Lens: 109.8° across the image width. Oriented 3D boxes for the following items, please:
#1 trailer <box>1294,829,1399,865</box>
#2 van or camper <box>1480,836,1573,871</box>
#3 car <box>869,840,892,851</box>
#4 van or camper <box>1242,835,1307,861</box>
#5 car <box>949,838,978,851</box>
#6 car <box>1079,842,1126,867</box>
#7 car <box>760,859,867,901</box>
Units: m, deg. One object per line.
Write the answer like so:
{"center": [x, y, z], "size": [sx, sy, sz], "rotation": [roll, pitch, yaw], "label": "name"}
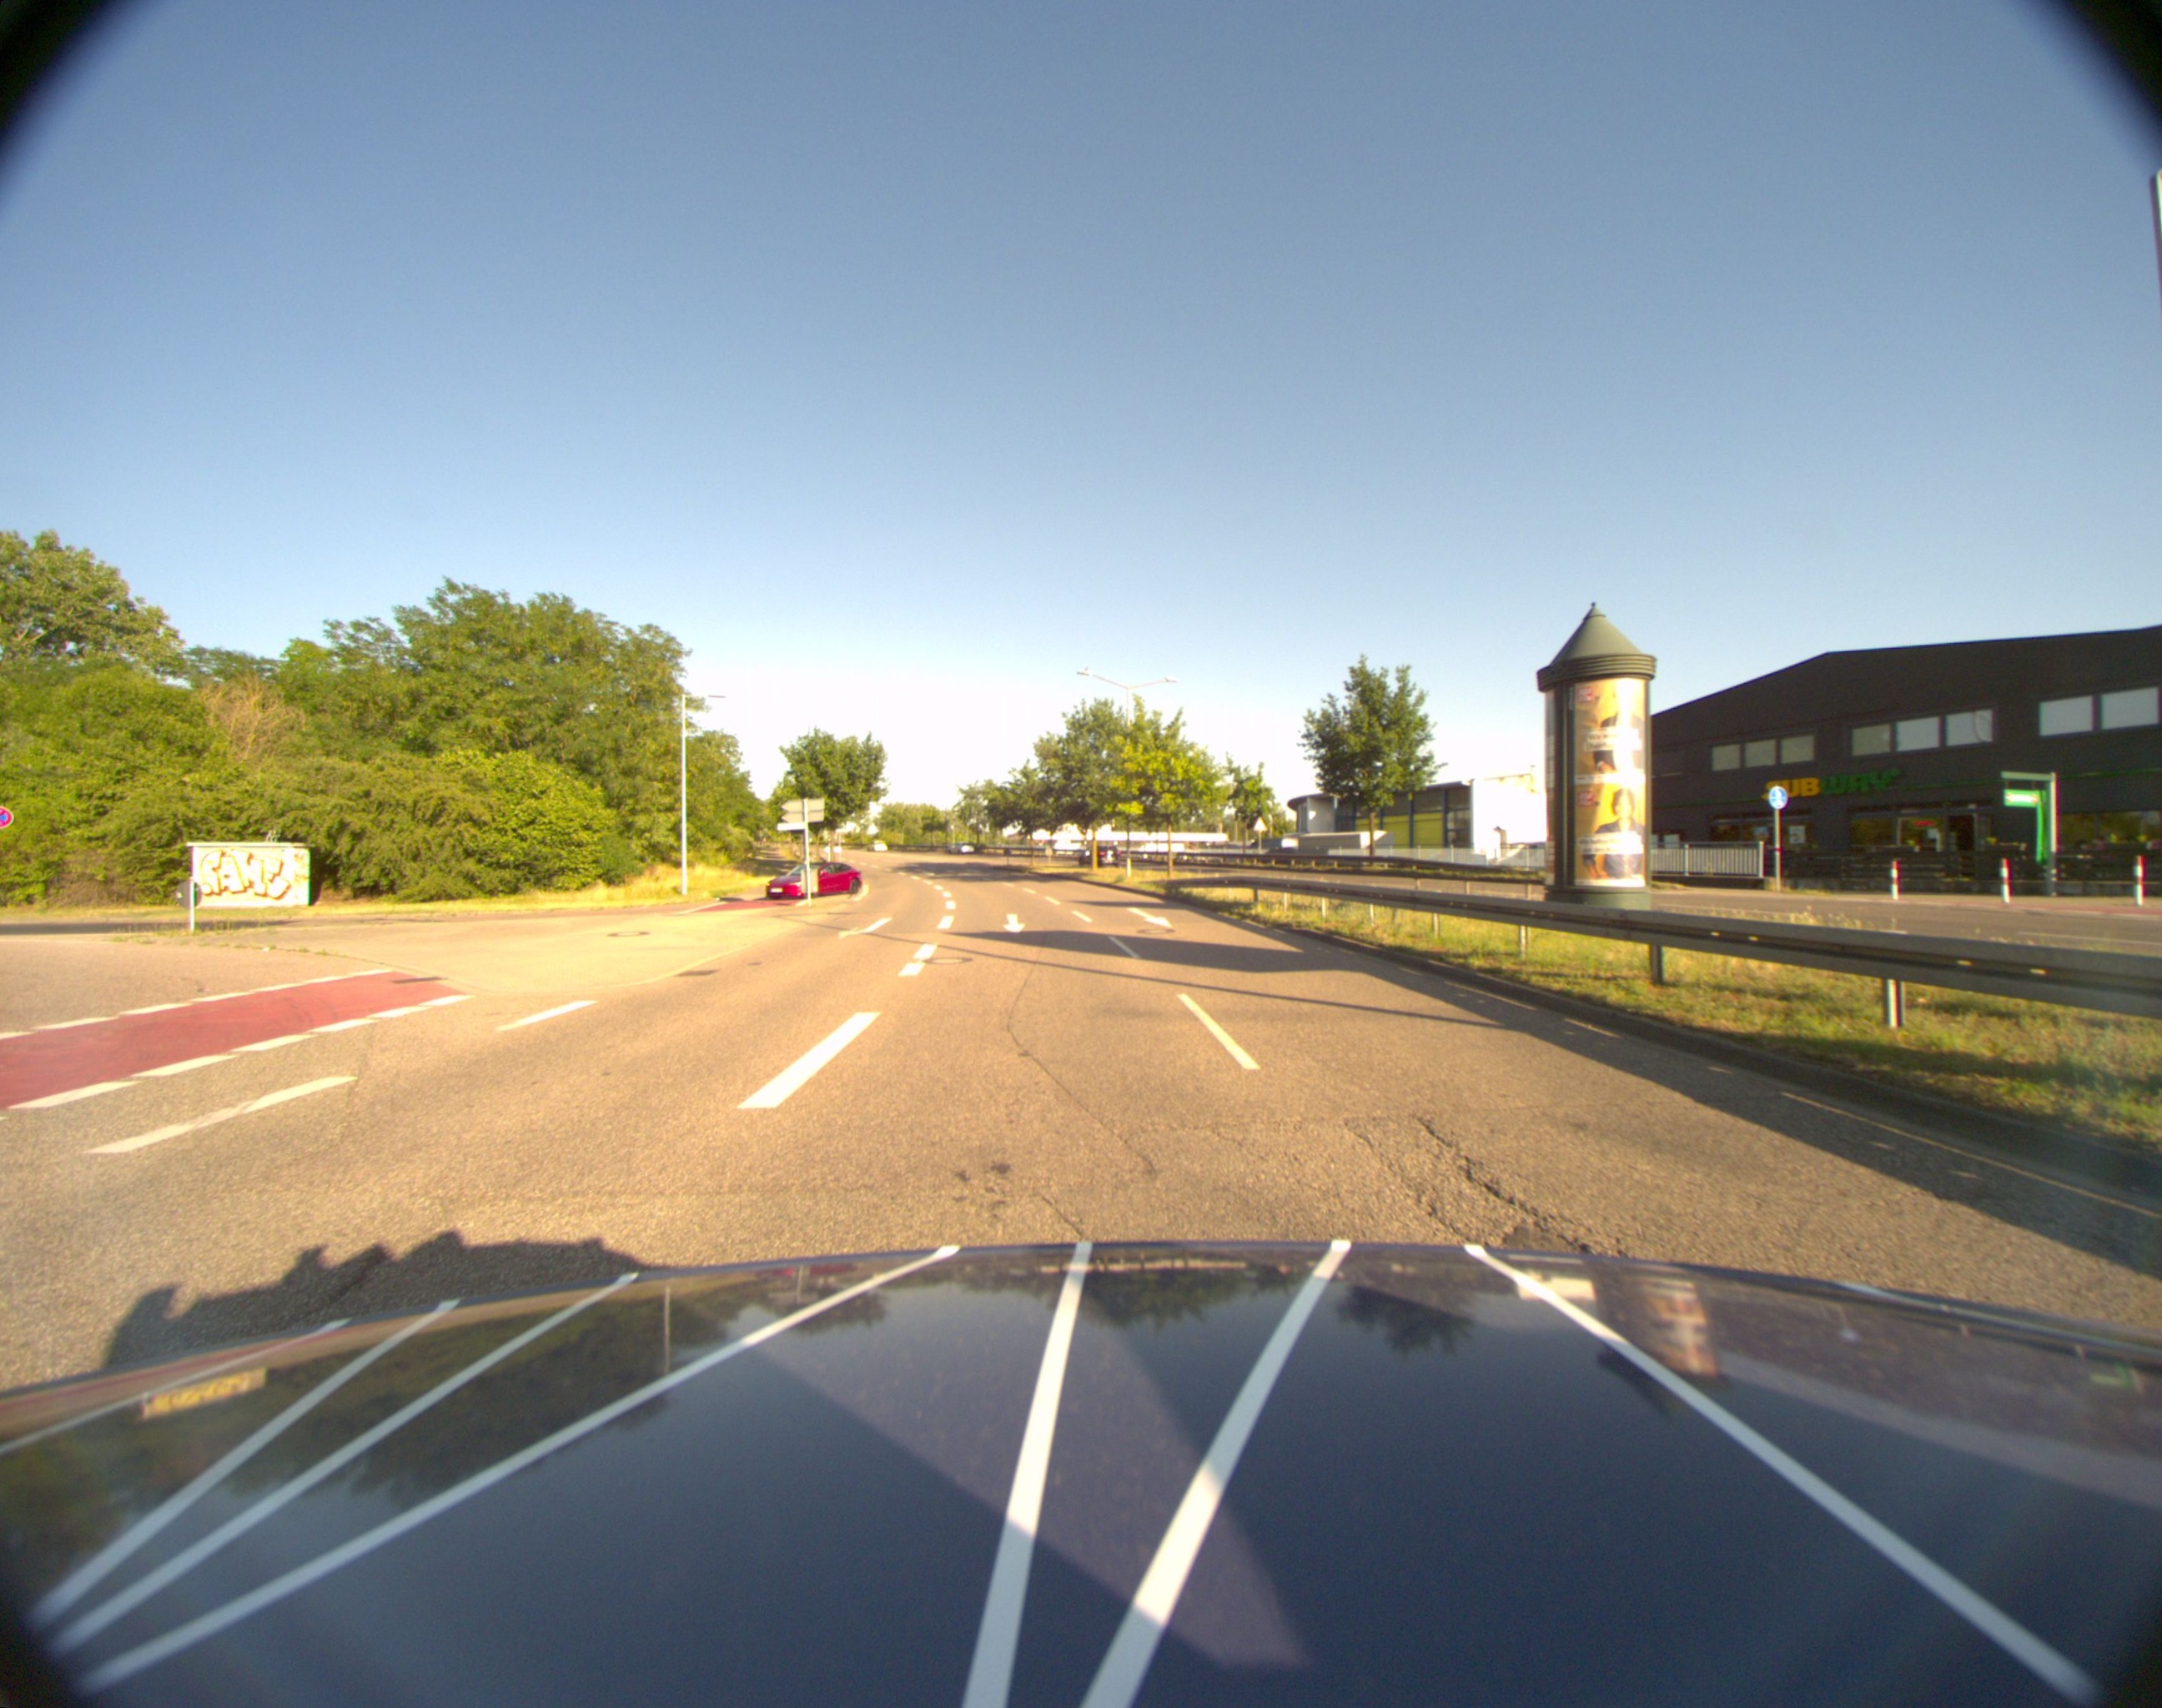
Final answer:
{"center": [15.755, -0.470, 45.639], "size": [2.429, 1.959, 6.593], "rotation": [-1, 2, -18], "label": "trailer"}
{"center": [25.584, -0.069, 43.751], "size": [4.220, 1.915, 2.002], "rotation": [1, 3, 16], "label": "van or camper"}
{"center": [-27.670, -1.205, 104.706], "size": [1.749, 1.454, 3.755], "rotation": [-3, 2, -35], "label": "car"}
{"center": [13.308, -0.438, 52.592], "size": [2.002, 1.676, 4.951], "rotation": [-1, 2, -19], "label": "van or camper"}
{"center": [-13.692, -1.079, 88.426], "size": [1.681, 1.454, 4.094], "rotation": [-2, 2, -35], "label": "car"}
{"center": [1.463, 0.001, 53.796], "size": [1.853, 1.594, 4.386], "rotation": [-1, 1, -20], "label": "car"}
{"center": [-10.837, 1.017, 31.169], "size": [1.779, 1.433, 4.365], "rotation": [-3, 0, 18], "label": "car"}
